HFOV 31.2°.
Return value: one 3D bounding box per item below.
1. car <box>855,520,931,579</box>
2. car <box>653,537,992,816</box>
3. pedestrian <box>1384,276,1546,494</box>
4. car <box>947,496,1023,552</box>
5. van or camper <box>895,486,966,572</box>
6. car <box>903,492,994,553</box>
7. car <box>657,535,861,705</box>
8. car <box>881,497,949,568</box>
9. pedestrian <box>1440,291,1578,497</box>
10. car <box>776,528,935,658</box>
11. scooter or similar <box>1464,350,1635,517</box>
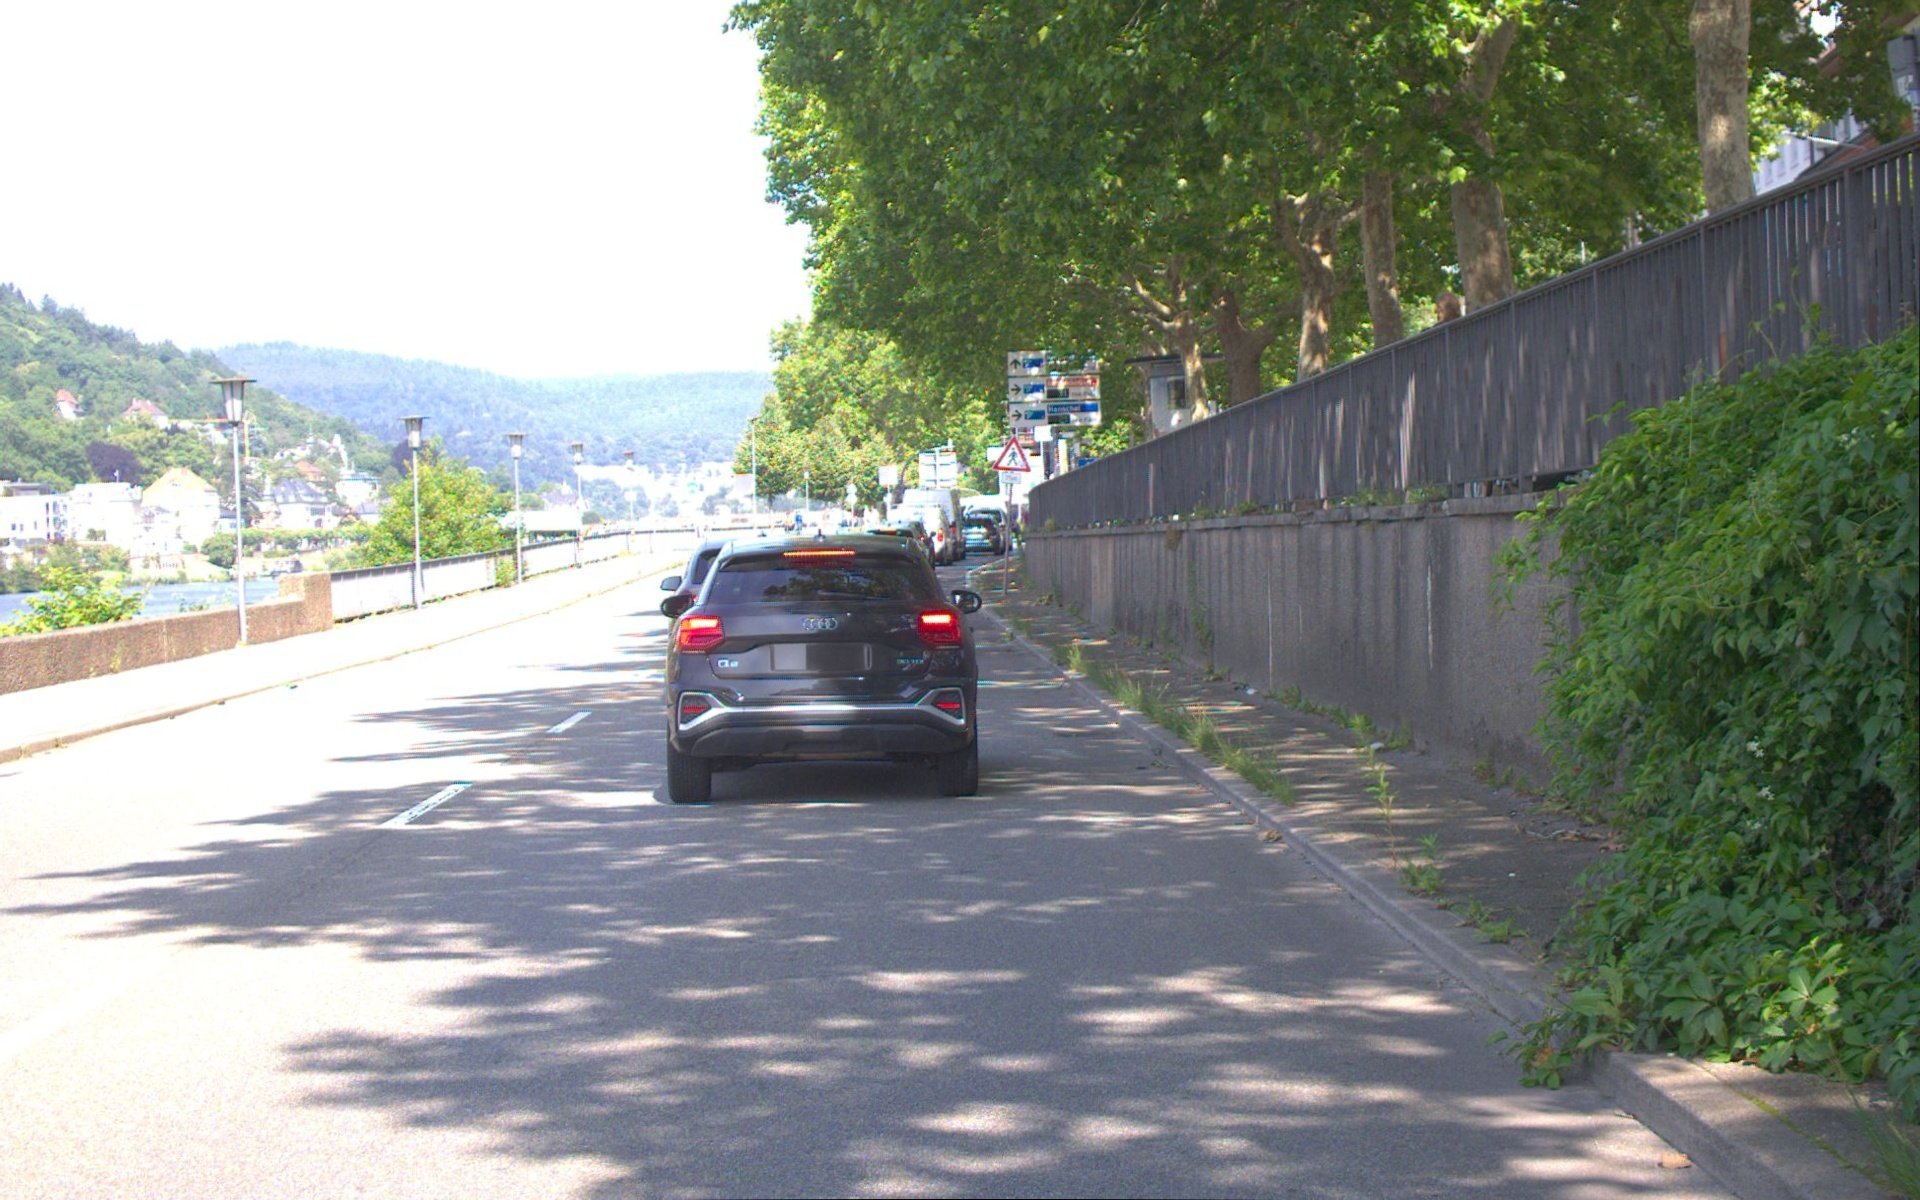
[{"bbox_3d":[-1.712,-1.297,87.052,1.828,1.439,4.001,-1,1,-2],"label":"car"},{"bbox_3d":[-0.827,0.384,20.818,1.828,1.481,4.001,-1,1,-2],"label":"car"},{"bbox_3d":[3.898,-1.645,26.608,0.936,1.574,1.028,-5,1,-3],"label":"pedestrian"},{"bbox_3d":[0.977,-3.083,138.997,2.661,2.006,5.825,-5,1,-2],"label":"car"},{"bbox_3d":[-0.991,-2.451,118.726,2.310,2.837,4.246,-2,1,0],"label":"van or camper"},{"bbox_3d":[-0.463,-2.926,129.309,3.098,2.006,5.825,-5,1,-2],"label":"car"},{"bbox_3d":[-1.899,0.143,33.246,1.828,1.506,4.001,-1,1,-2],"label":"car"},{"bbox_3d":[-1.441,-2.159,109.606,1.993,2.162,4.001,-2,1,-2],"label":"car"},{"bbox_3d":[3.859,-1.433,24.208,0.680,1.361,0.990,-5,1,-2],"label":"pedestrian"},{"bbox_3d":[-1.287,-0.118,42.057,1.828,1.481,4.001,-1,1,-2],"label":"car"},{"bbox_3d":[3.972,-1.111,23.228,0.855,1.023,1.107,-5,1,-2],"label":"scooter or similar"}]
